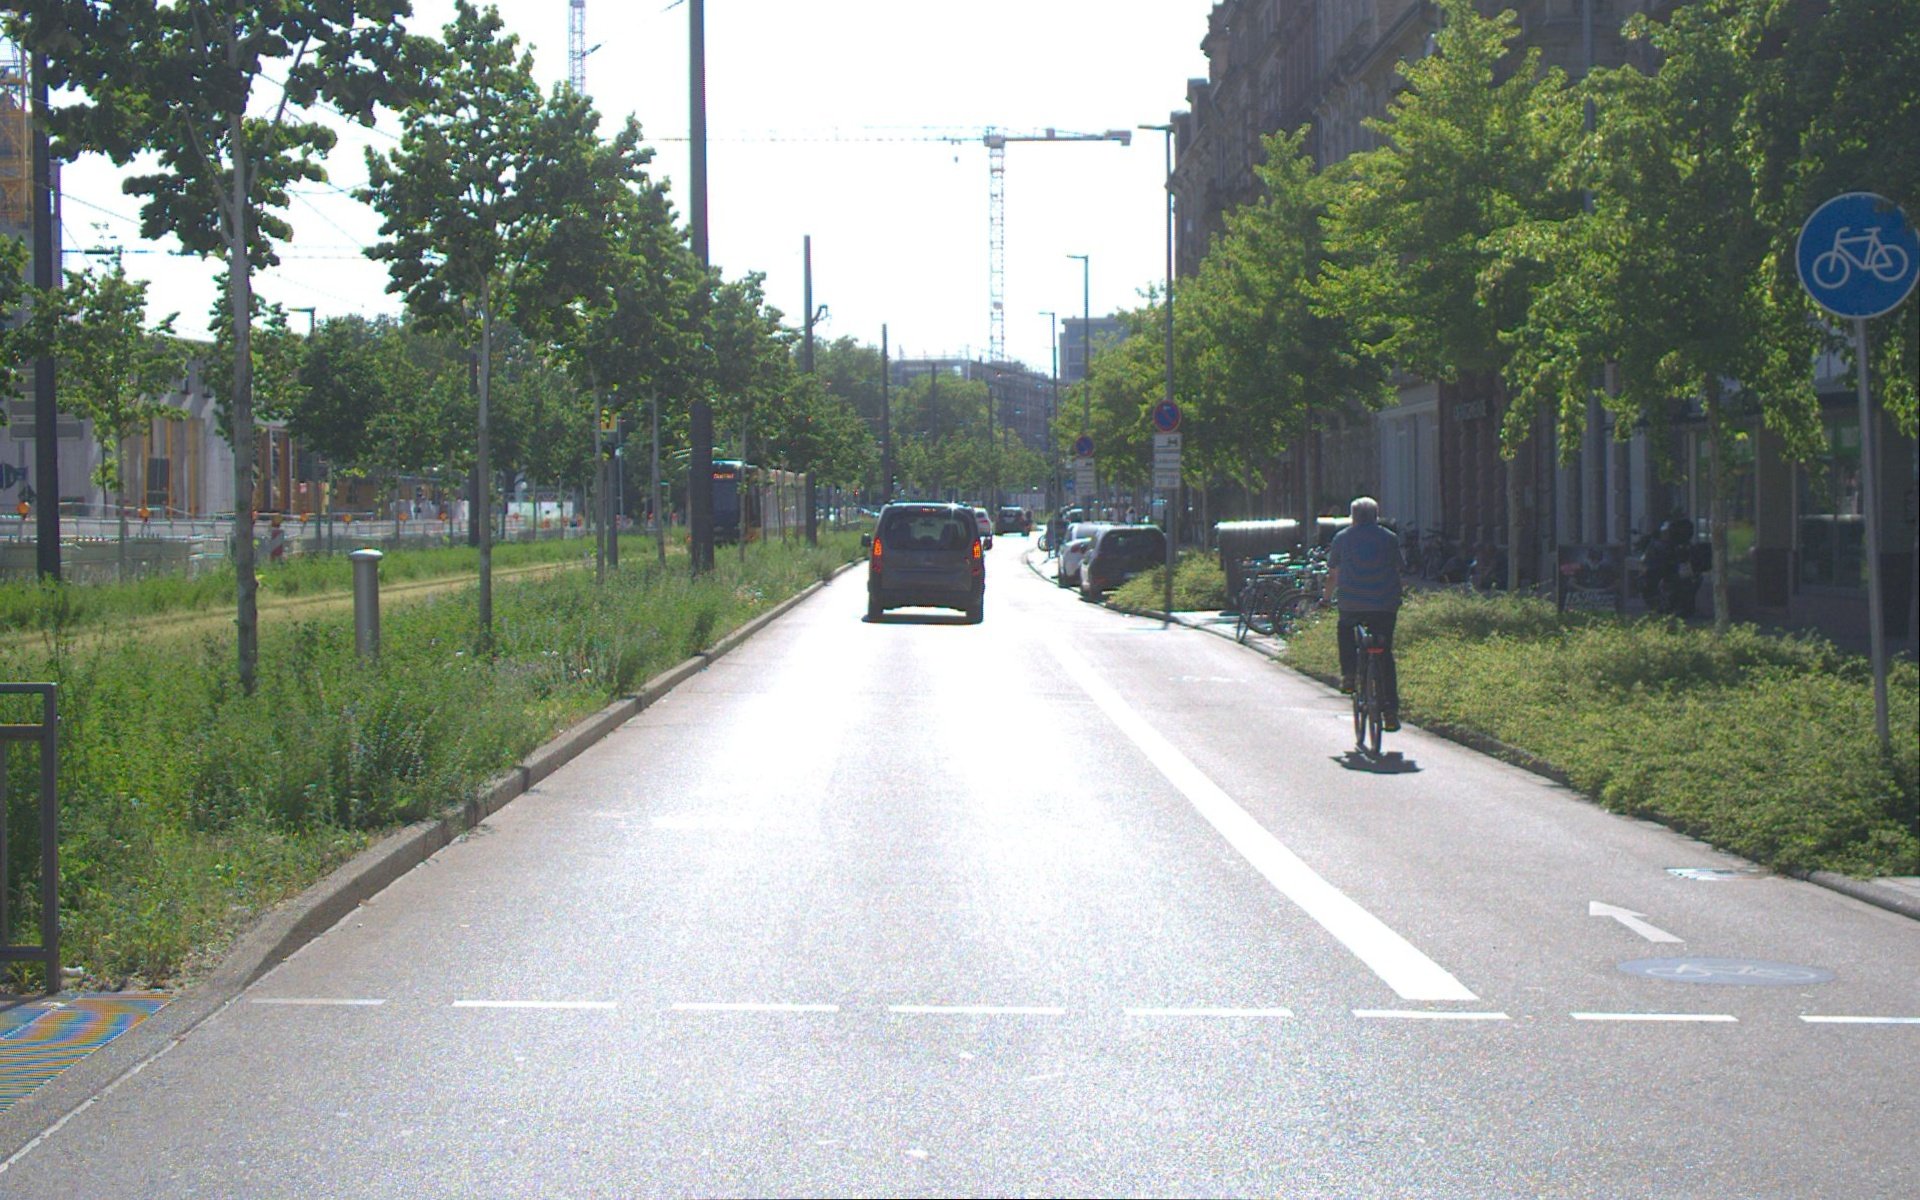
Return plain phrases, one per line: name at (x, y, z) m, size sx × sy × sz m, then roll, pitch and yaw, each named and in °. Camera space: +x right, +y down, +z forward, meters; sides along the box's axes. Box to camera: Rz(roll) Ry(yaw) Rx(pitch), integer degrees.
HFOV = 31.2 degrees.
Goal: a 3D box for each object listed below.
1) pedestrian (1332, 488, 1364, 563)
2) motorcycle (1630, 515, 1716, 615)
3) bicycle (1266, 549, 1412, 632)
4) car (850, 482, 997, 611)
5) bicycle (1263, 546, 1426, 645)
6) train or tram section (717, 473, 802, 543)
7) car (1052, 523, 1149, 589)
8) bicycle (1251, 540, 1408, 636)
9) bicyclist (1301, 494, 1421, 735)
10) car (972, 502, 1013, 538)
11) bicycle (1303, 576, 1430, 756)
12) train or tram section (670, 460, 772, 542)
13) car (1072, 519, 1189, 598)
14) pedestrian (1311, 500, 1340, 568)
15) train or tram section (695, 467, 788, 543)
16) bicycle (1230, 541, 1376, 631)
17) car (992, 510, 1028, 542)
pedestrian at (8.433, -1.627, 74.768) m, size 0.614 × 1.606 × 0.669 m, roll 0°, pitch 1°, yaw -1°
motorcycle at (9.389, -0.476, 45.319) m, size 0.700 × 1.263 × 1.982 m, roll -1°, pitch 2°, yaw -1°
bicycle at (4.807, -0.119, 43.688) m, size 1.792 × 1.027 × 0.527 m, roll 0°, pitch 1°, yaw 0°
car at (-0.580, -0.860, 53.961) m, size 2.200 × 1.919 × 4.654 m, roll -1°, pitch 1°, yaw -1°
bicycle at (4.554, -0.055, 40.782) m, size 1.792 × 1.027 × 0.527 m, roll -5°, pitch 1°, yaw 0°
train or tram section at (-8.202, -3.736, 141.743) m, size 2.756 × 2.733 × 9.864 m, roll 1°, pitch 1°, yaw 1°
car at (3.274, -1.057, 80.931) m, size 2.028 × 1.493 × 4.530 m, roll -1°, pitch 1°, yaw -1°
bicycle at (4.528, -0.146, 42.154) m, size 1.792 × 1.027 × 0.527 m, roll -5°, pitch 1°, yaw 0°
bicyclist at (2.853, 0.087, 24.520) m, size 0.684 × 1.667 × 0.922 m, roll 2°, pitch 1°, yaw -1°
car at (1.627, -4.004, 173.168) m, size 1.993 × 1.723 × 4.000 m, roll 1°, pitch 1°, yaw -1°
bicycle at (2.863, 0.442, 24.363) m, size 0.601 × 1.177 × 1.869 m, roll 2°, pitch 1°, yaw -1°
train or tram section at (-8.423, -3.455, 122.037) m, size 2.756 × 2.733 × 9.864 m, roll 1°, pitch 1°, yaw 1°
car at (3.353, -0.851, 68.531) m, size 2.028 × 1.493 × 4.654 m, roll -1°, pitch 1°, yaw -1°
pedestrian at (8.654, -1.563, 81.381) m, size 0.614 × 1.606 × 0.669 m, roll 0°, pitch 1°, yaw -1°
train or tram section at (-8.320, -3.596, 131.884) m, size 2.756 × 2.733 × 9.864 m, roll 1°, pitch 1°, yaw 1°
bicycle at (4.503, -0.189, 45.142) m, size 1.792 × 1.027 × 0.527 m, roll -5°, pitch 1°, yaw 0°
car at (2.949, -4.352, 203.882) m, size 1.993 × 1.831 × 4.000 m, roll 1°, pitch 1°, yaw -1°
